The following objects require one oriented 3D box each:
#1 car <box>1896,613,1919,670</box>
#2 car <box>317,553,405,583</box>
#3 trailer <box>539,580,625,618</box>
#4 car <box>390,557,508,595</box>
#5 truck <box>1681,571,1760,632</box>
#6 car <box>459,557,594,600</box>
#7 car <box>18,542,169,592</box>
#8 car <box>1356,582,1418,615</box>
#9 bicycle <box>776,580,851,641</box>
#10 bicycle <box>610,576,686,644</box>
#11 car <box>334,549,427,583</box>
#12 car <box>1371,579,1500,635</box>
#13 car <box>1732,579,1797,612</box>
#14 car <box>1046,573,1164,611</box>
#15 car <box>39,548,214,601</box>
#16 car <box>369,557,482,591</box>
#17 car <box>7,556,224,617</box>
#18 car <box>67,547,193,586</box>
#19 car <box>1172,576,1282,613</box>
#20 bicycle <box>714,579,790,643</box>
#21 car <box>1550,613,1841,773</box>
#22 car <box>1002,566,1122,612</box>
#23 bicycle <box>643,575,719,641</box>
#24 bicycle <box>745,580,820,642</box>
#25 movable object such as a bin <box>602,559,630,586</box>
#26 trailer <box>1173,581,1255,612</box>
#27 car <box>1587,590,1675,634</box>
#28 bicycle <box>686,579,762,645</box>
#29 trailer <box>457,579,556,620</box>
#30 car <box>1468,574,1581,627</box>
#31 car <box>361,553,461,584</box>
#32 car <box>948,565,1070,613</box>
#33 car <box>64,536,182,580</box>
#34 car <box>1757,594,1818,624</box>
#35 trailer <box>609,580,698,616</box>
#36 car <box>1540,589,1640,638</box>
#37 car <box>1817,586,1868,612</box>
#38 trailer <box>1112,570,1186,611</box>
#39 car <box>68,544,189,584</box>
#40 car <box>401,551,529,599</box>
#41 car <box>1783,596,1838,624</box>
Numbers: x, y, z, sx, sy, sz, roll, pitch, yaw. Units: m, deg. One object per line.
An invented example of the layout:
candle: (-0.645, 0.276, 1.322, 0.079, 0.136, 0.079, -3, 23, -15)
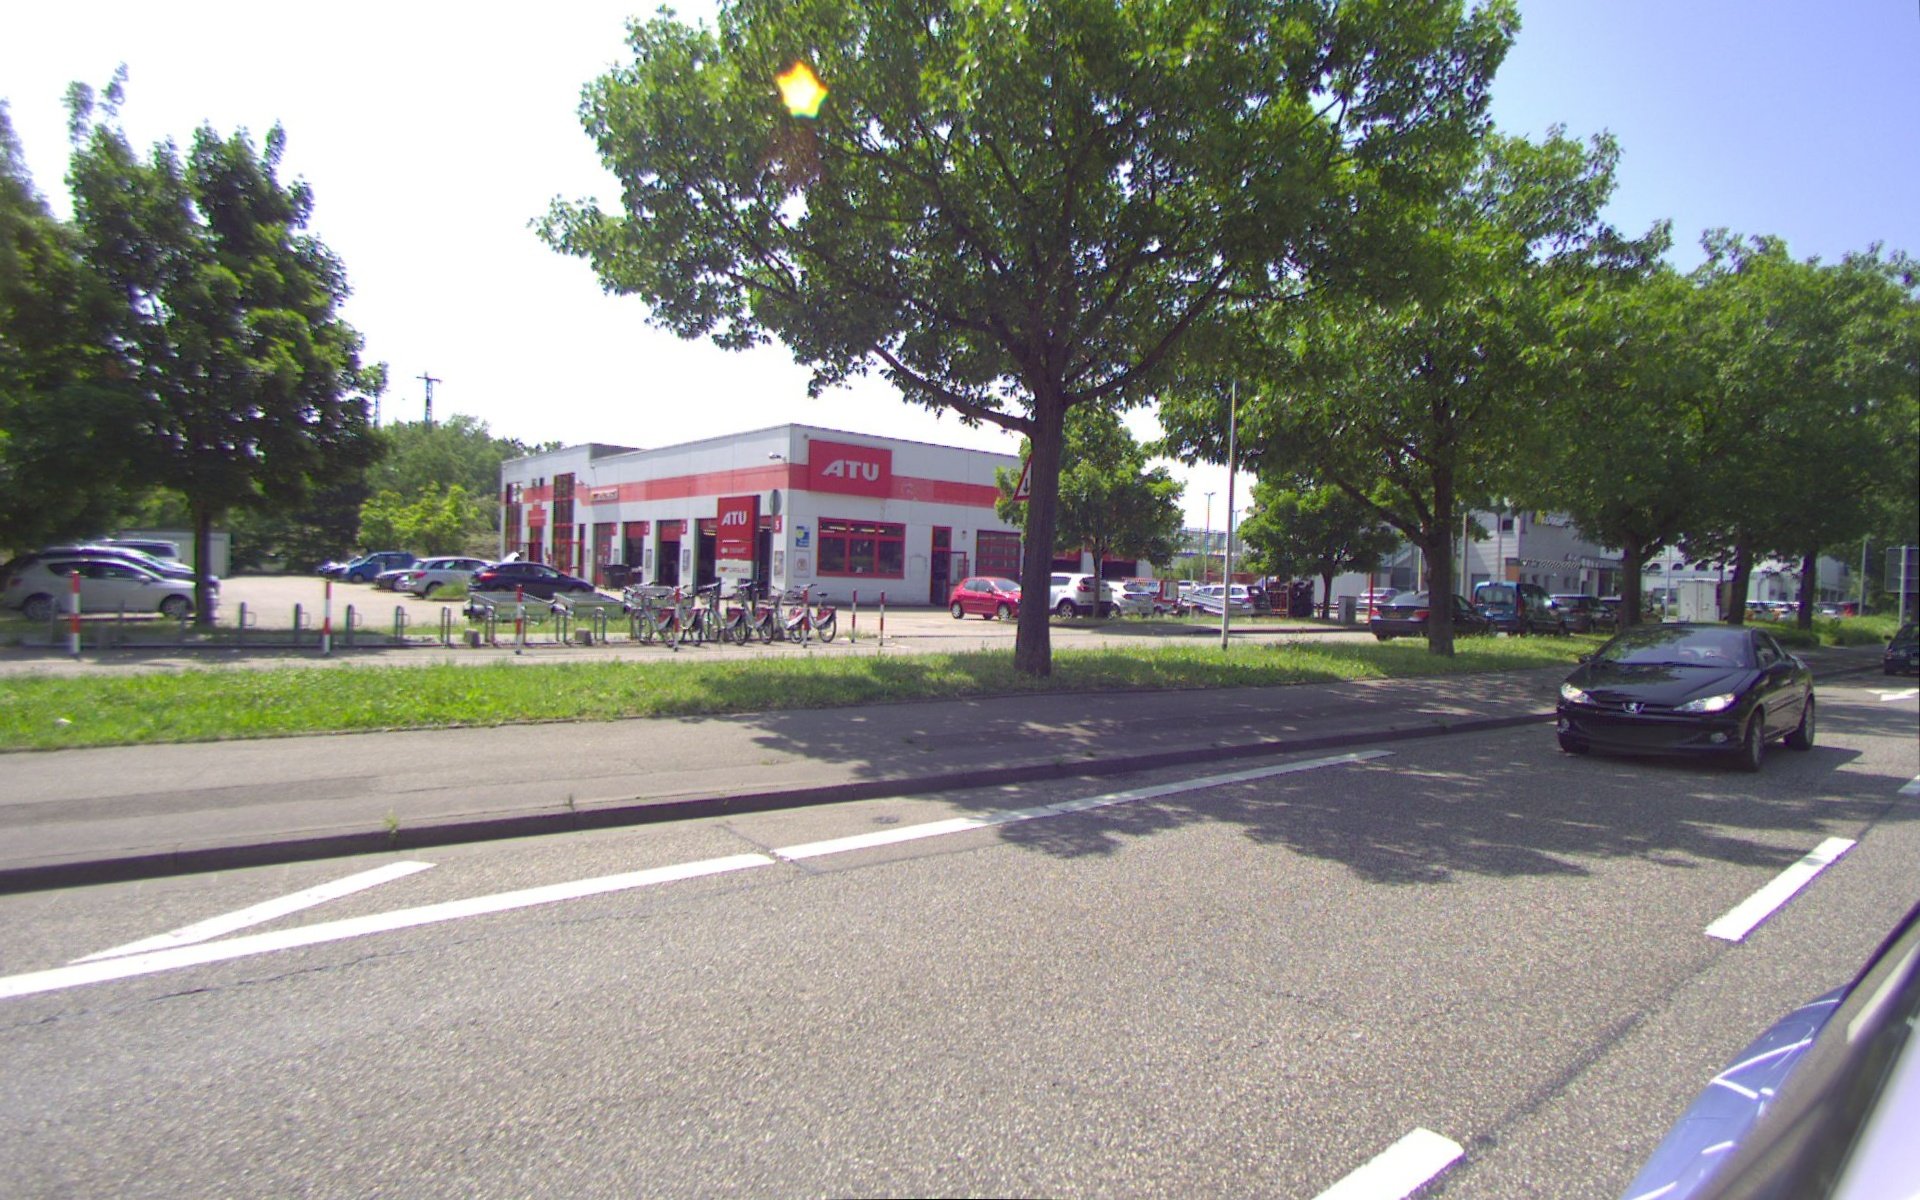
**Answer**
car: (25.092, 1.033, 25.591, 4.072, 1.388, 1.641, 1, 0, -41)
car: (-32.804, -1.758, 55.471, 3.930, 1.482, 1.786, 1, 2, -41)
trailer: (-8.696, -0.040, 23.219, 1.244, 0.771, 2.138, 1, 2, -38)
car: (-20.419, -0.959, 40.490, 3.930, 1.389, 1.725, 1, 2, -41)
truck: (34.723, 0.071, 46.185, 3.927, 2.598, 1.905, 1, 2, -38)
car: (-15.365, -0.756, 35.952, 4.072, 1.389, 1.716, 1, 2, -41)
car: (-30.211, -1.126, 35.444, 3.927, 1.600, 1.711, 1, 2, -39)
car: (22.945, -0.077, 54.335, 1.754, 1.615, 3.938, 3, 2, 43)
bicycle: (-2.996, 0.193, 20.585, 1.780, 1.138, 0.506, 3, 2, 44)
bicycle: (-5.694, 0.158, 18.420, 1.780, 1.138, 0.506, 3, 2, 44)
car: (-30.179, -1.765, 52.772, 3.930, 1.626, 1.710, 1, 2, -41)
car: (13.044, 0.175, 27.665, 3.928, 1.388, 1.642, 1, 2, -40)
car: (39.606, -0.221, 49.794, 3.928, 1.485, 1.720, 1, 2, -40)
car: (5.163, -0.309, 36.436, 1.717, 1.223, 3.993, 1, 2, -42)
car: (-24.689, -0.746, 30.142, 3.927, 1.444, 1.711, 1, 2, -39)
car: (-23.201, -1.119, 43.971, 4.072, 1.376, 1.647, 1, 2, -41)
car: (-20.195, -0.312, 24.366, 3.903, 1.329, 1.652, 1, 2, -41)
car: (-34.094, -1.378, 41.664, 3.930, 1.477, 1.710, 1, 2, -41)
car: (10.720, -0.251, 40.802, 1.661, 1.317, 3.993, 1, 2, -42)
bicycle: (-4.056, 0.187, 19.662, 1.780, 1.138, 0.506, 3, 2, 44)
car: (7.889, 0.836, 10.722, 3.929, 1.361, 1.641, 1, 0, -41)
car: (3.462, -0.387, 35.003, 1.717, 1.419, 3.993, 1, 2, -42)
bicycle: (-5.195, 0.128, 18.799, 1.780, 1.138, 0.506, 3, 2, 44)
bicycle: (-3.563, 0.195, 20.177, 1.780, 1.138, 0.506, 3, 2, 44)
movable object such as a bin: (-17.189, -1.365, 50.539, 1.047, 1.274, 1.003, 1, 1, -36)
trailer: (9.727, -0.144, 38.814, 1.551, 1.065, 2.640, 1, 2, -42)
car: (25.830, 0.447, 38.921, 3.928, 1.532, 1.720, 1, 2, -40)
bicycle: (-4.485, 0.210, 19.190, 1.780, 1.138, 0.506, 3, 2, 44)
trailer: (-9.876, -0.025, 21.980, 1.423, 0.771, 2.468, 1, 2, -38)
car: (17.571, 0.016, 31.433, 3.928, 1.485, 1.720, 1, 2, -40)
car: (-26.983, -1.541, 49.766, 4.072, 1.376, 1.647, 1, 2, -41)
car: (1.556, -0.386, 33.461, 1.717, 1.419, 3.994, 1, 2, -42)
car: (-37.173, -1.860, 45.055, 3.925, 1.793, 1.712, 1, 2, -37)
car: (44.055, 0.471, 53.850, 3.928, 1.485, 1.720, 1, 2, -40)
trailer: (-7.373, -0.056, 24.272, 1.368, 0.771, 2.138, 1, 2, -38)
car: (21.739, 0.442, 34.870, 3.928, 1.539, 1.720, 1, 2, -40)
car: (54.561, -0.075, 62.581, 3.928, 1.485, 1.720, 1, 2, -40)
trailer: (7.656, -0.407, 41.113, 1.391, 1.546, 2.640, 1, 2, -42)
car: (-35.504, -1.533, 43.279, 3.930, 1.582, 1.710, 1, 2, -41)
car: (-18.752, -0.942, 38.403, 4.072, 1.683, 1.716, 1, 2, -41)
car: (49.834, 0.574, 59.270, 3.928, 1.485, 1.720, 1, 2, -40)
